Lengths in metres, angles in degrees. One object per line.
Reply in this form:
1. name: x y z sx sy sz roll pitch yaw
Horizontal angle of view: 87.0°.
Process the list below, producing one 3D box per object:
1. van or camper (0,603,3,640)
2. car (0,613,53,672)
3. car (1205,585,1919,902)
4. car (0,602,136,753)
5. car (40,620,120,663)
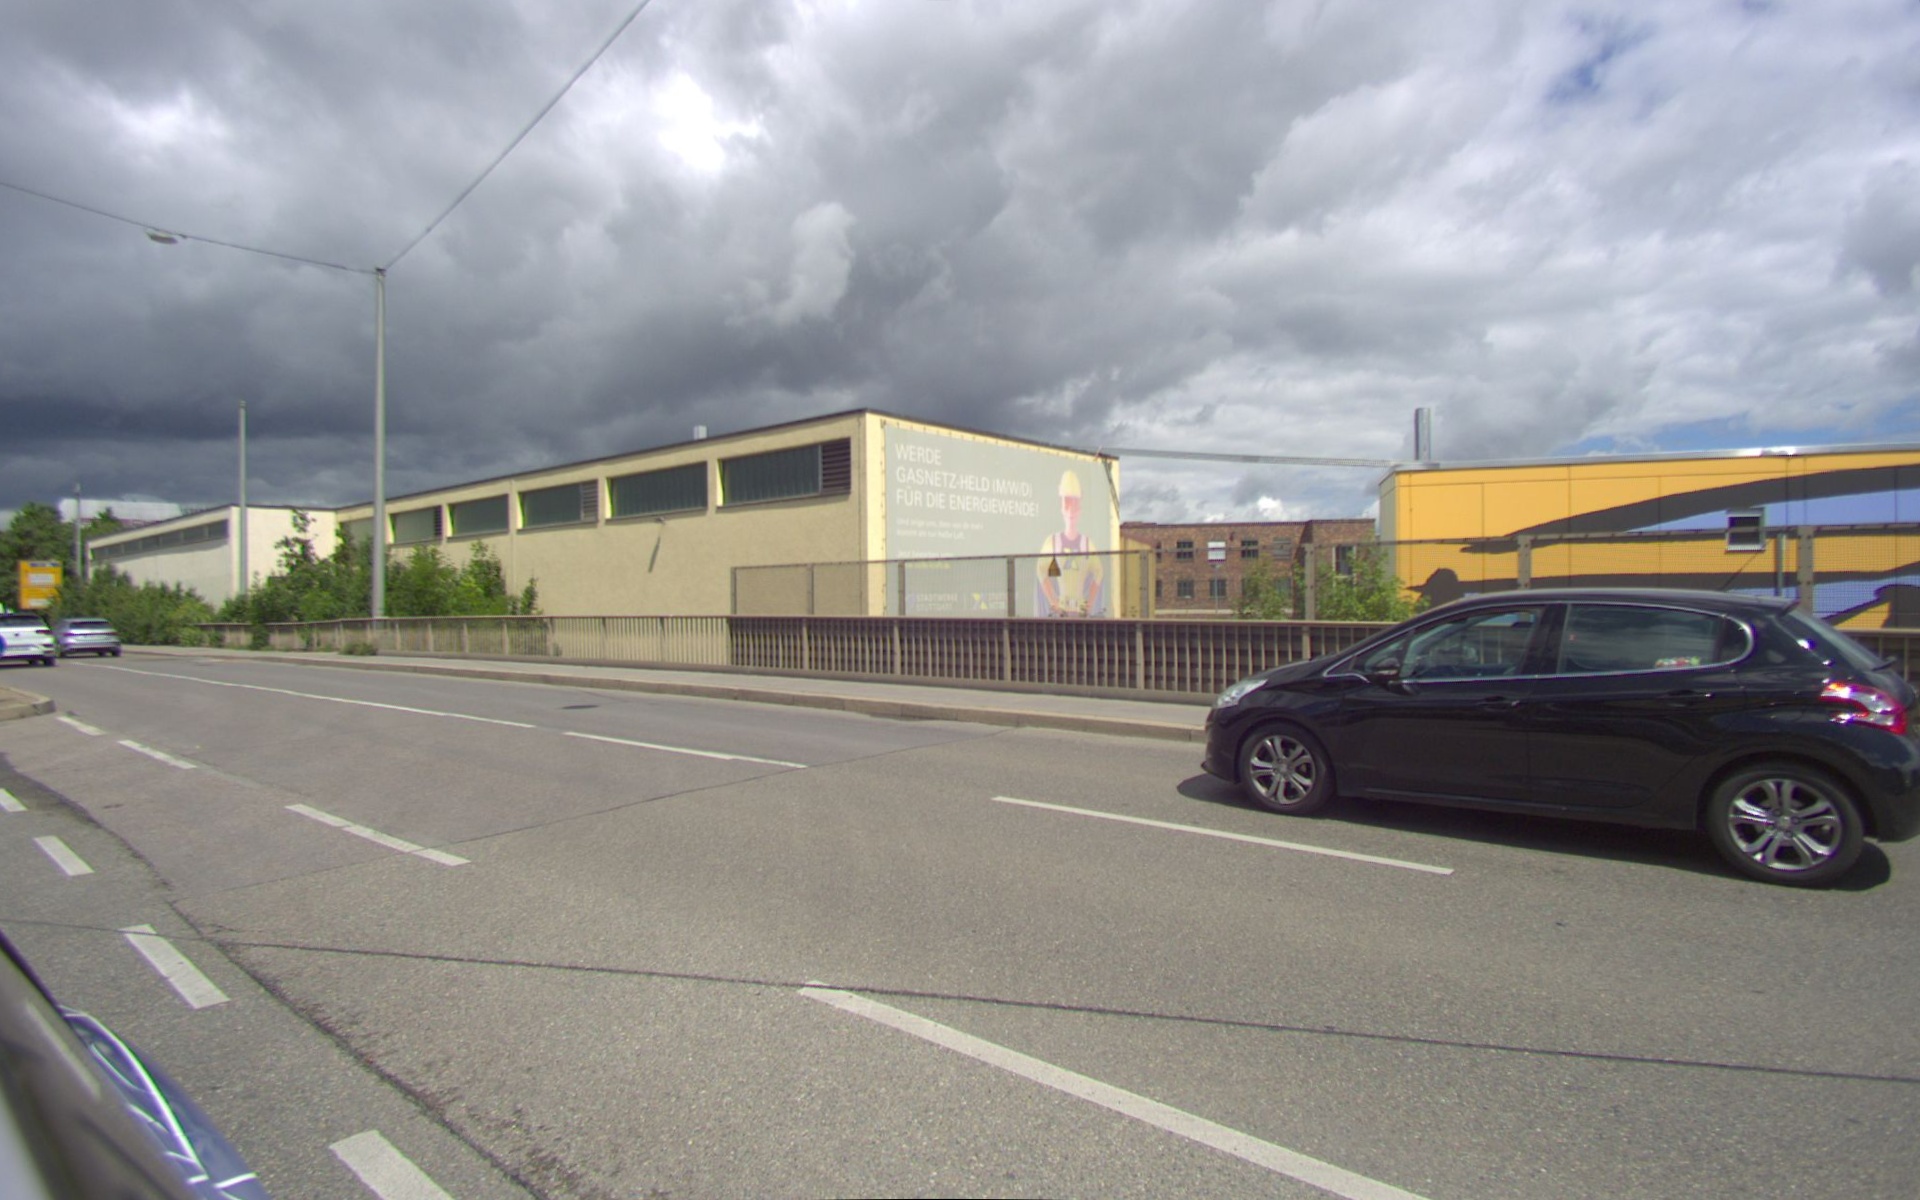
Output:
1. van or camper: -58.388 1.263 59.707 5.465 2.137 2.137 -1 0 39
2. car: -26.988 1.163 28.368 3.767 1.564 1.783 -1 0 40
3. car: 3.598 0.654 6.152 3.796 1.423 1.592 -1 0 39
4. car: -12.862 0.950 13.748 4.205 1.806 1.847 -1 -1 40
5. car: -31.973 1.475 36.740 3.796 1.423 1.592 -1 0 39
